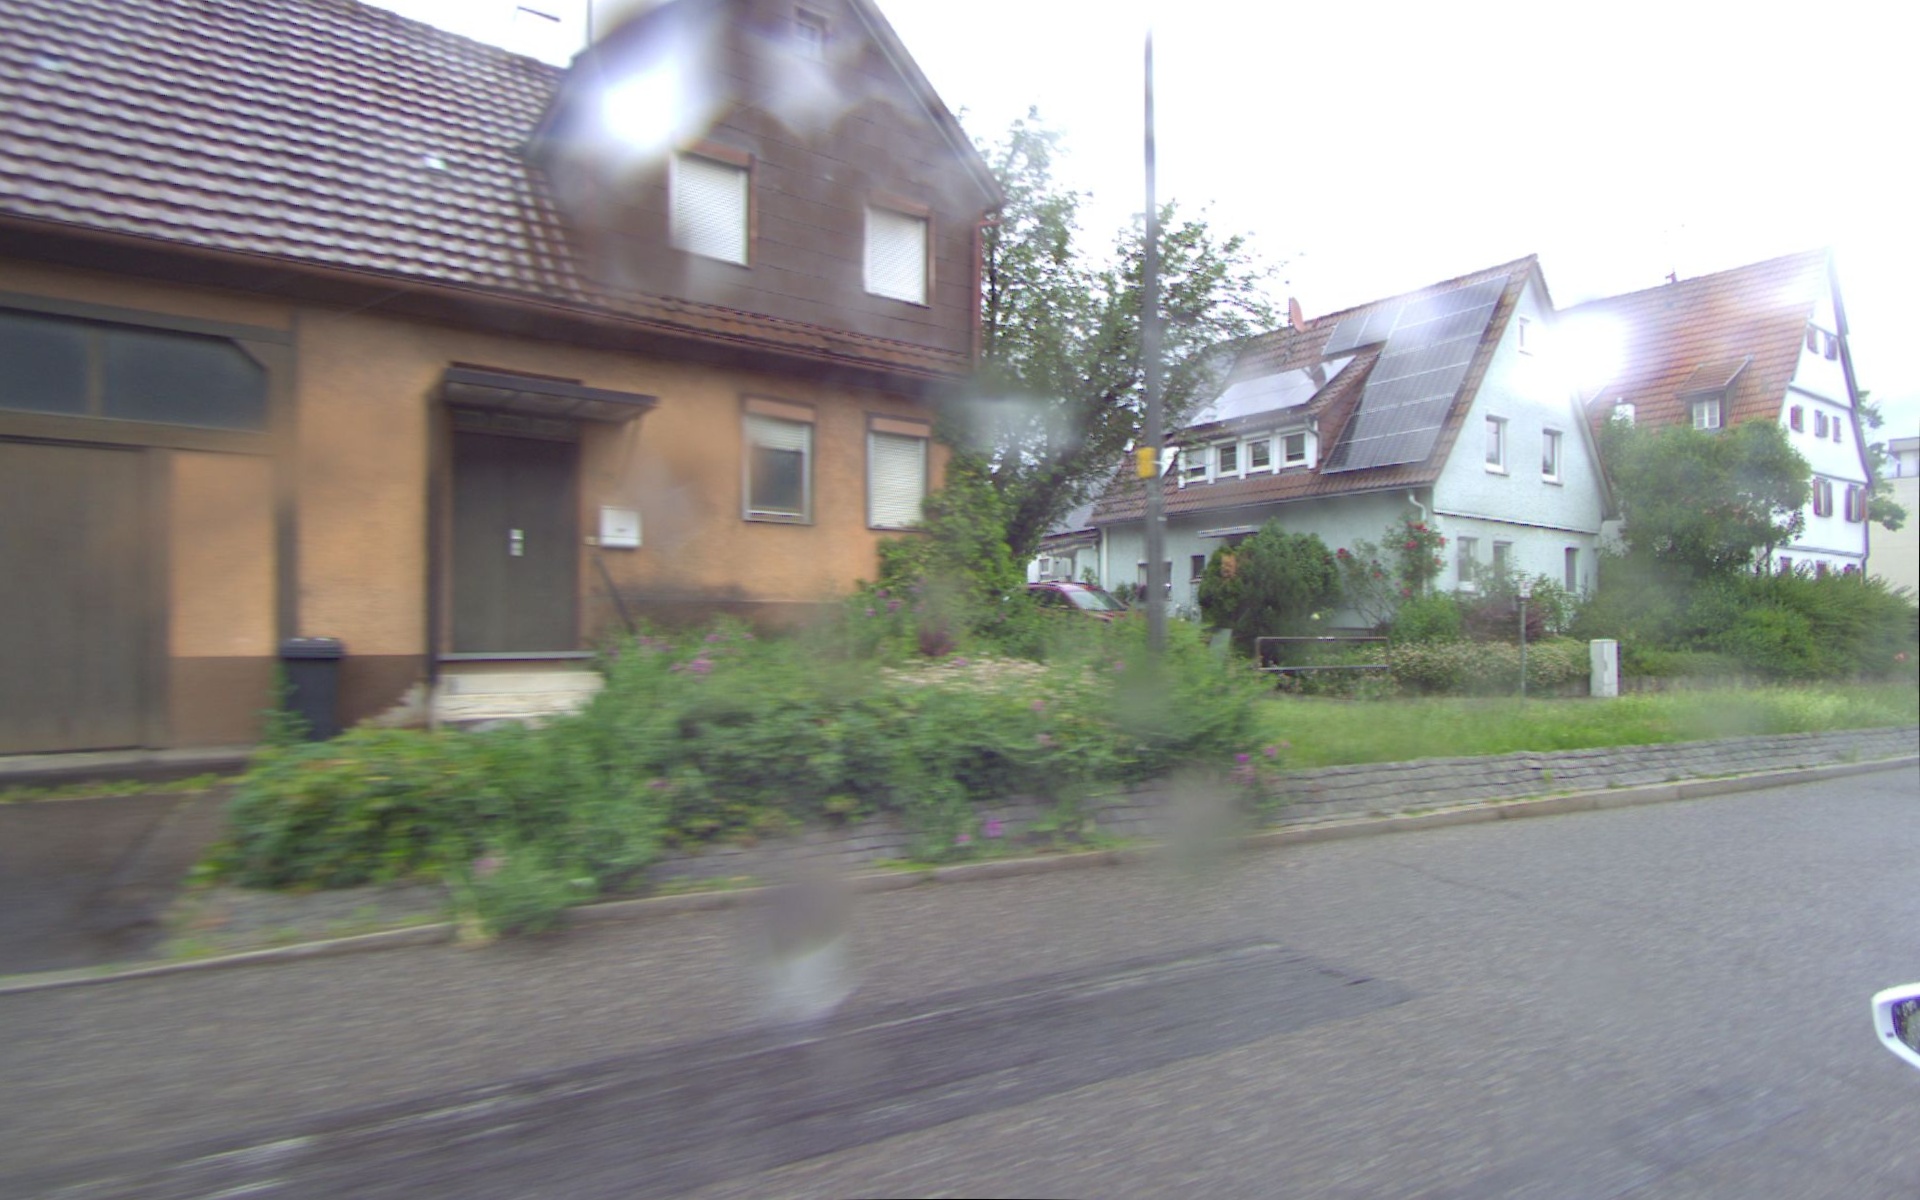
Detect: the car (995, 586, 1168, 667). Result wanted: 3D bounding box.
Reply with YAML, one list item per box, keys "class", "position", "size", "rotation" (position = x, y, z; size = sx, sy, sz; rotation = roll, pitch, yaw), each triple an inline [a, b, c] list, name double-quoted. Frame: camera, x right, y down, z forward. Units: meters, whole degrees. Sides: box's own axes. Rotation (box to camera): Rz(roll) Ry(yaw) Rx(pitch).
- class: "car"
  position: [2.620, 0.536, 22.545]
  size: [1.760, 1.571, 3.965]
  rotation: [1, 1, -31]

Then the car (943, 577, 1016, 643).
- class: "car"
  position: [0.619, 0.259, 28.628]
  size: [1.829, 1.706, 3.703]
  rotation: [2, 0, 5]
